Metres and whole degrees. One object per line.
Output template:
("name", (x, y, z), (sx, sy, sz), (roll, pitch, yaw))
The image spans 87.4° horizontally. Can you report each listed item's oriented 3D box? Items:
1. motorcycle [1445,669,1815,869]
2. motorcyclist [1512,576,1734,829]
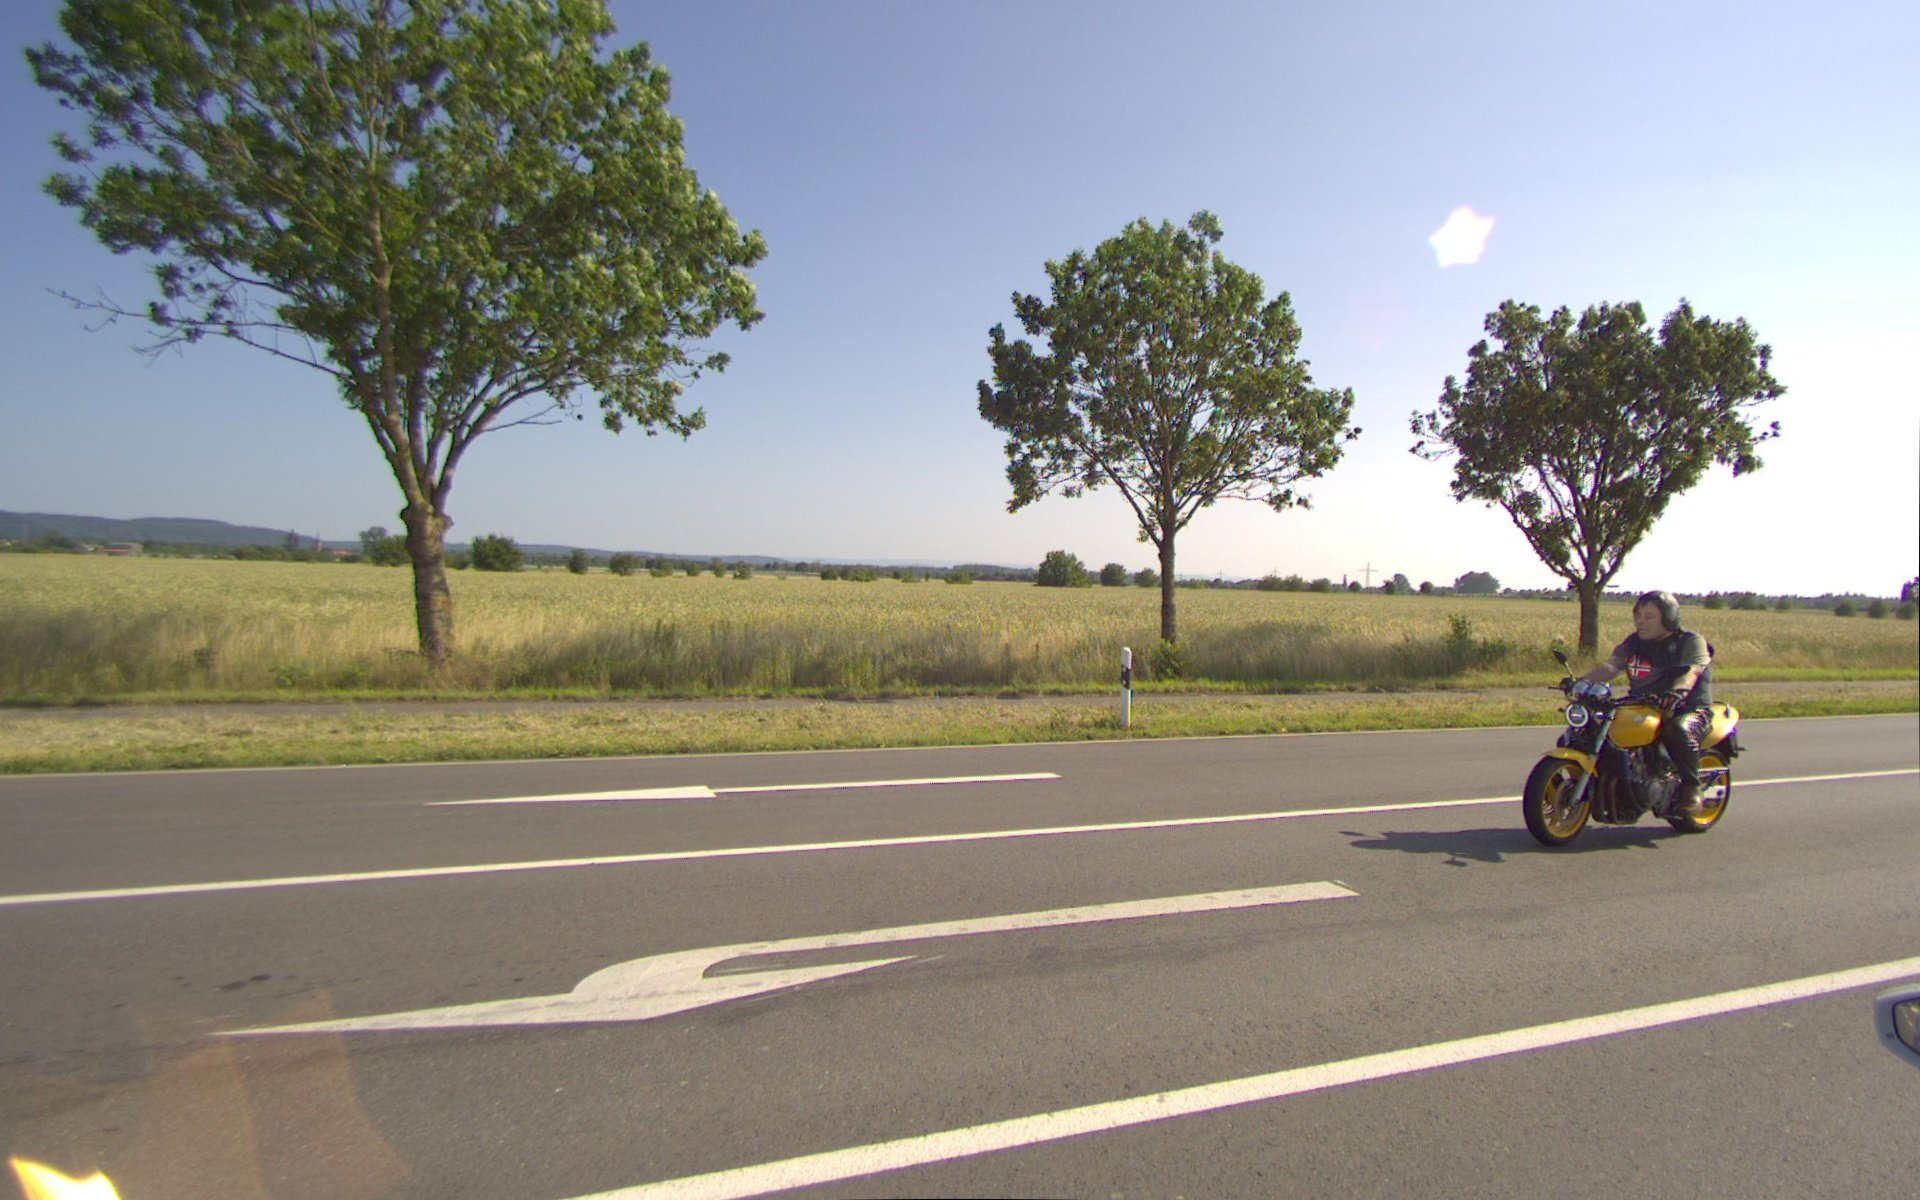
("motorcycle", (4.440, 1.027, 6.634), (2.395, 1.058, 0.894), (1, 1, -25))
("motorcyclist", (4.376, 0.628, 6.644), (1.165, 1.536, 0.677), (1, 1, -24))
